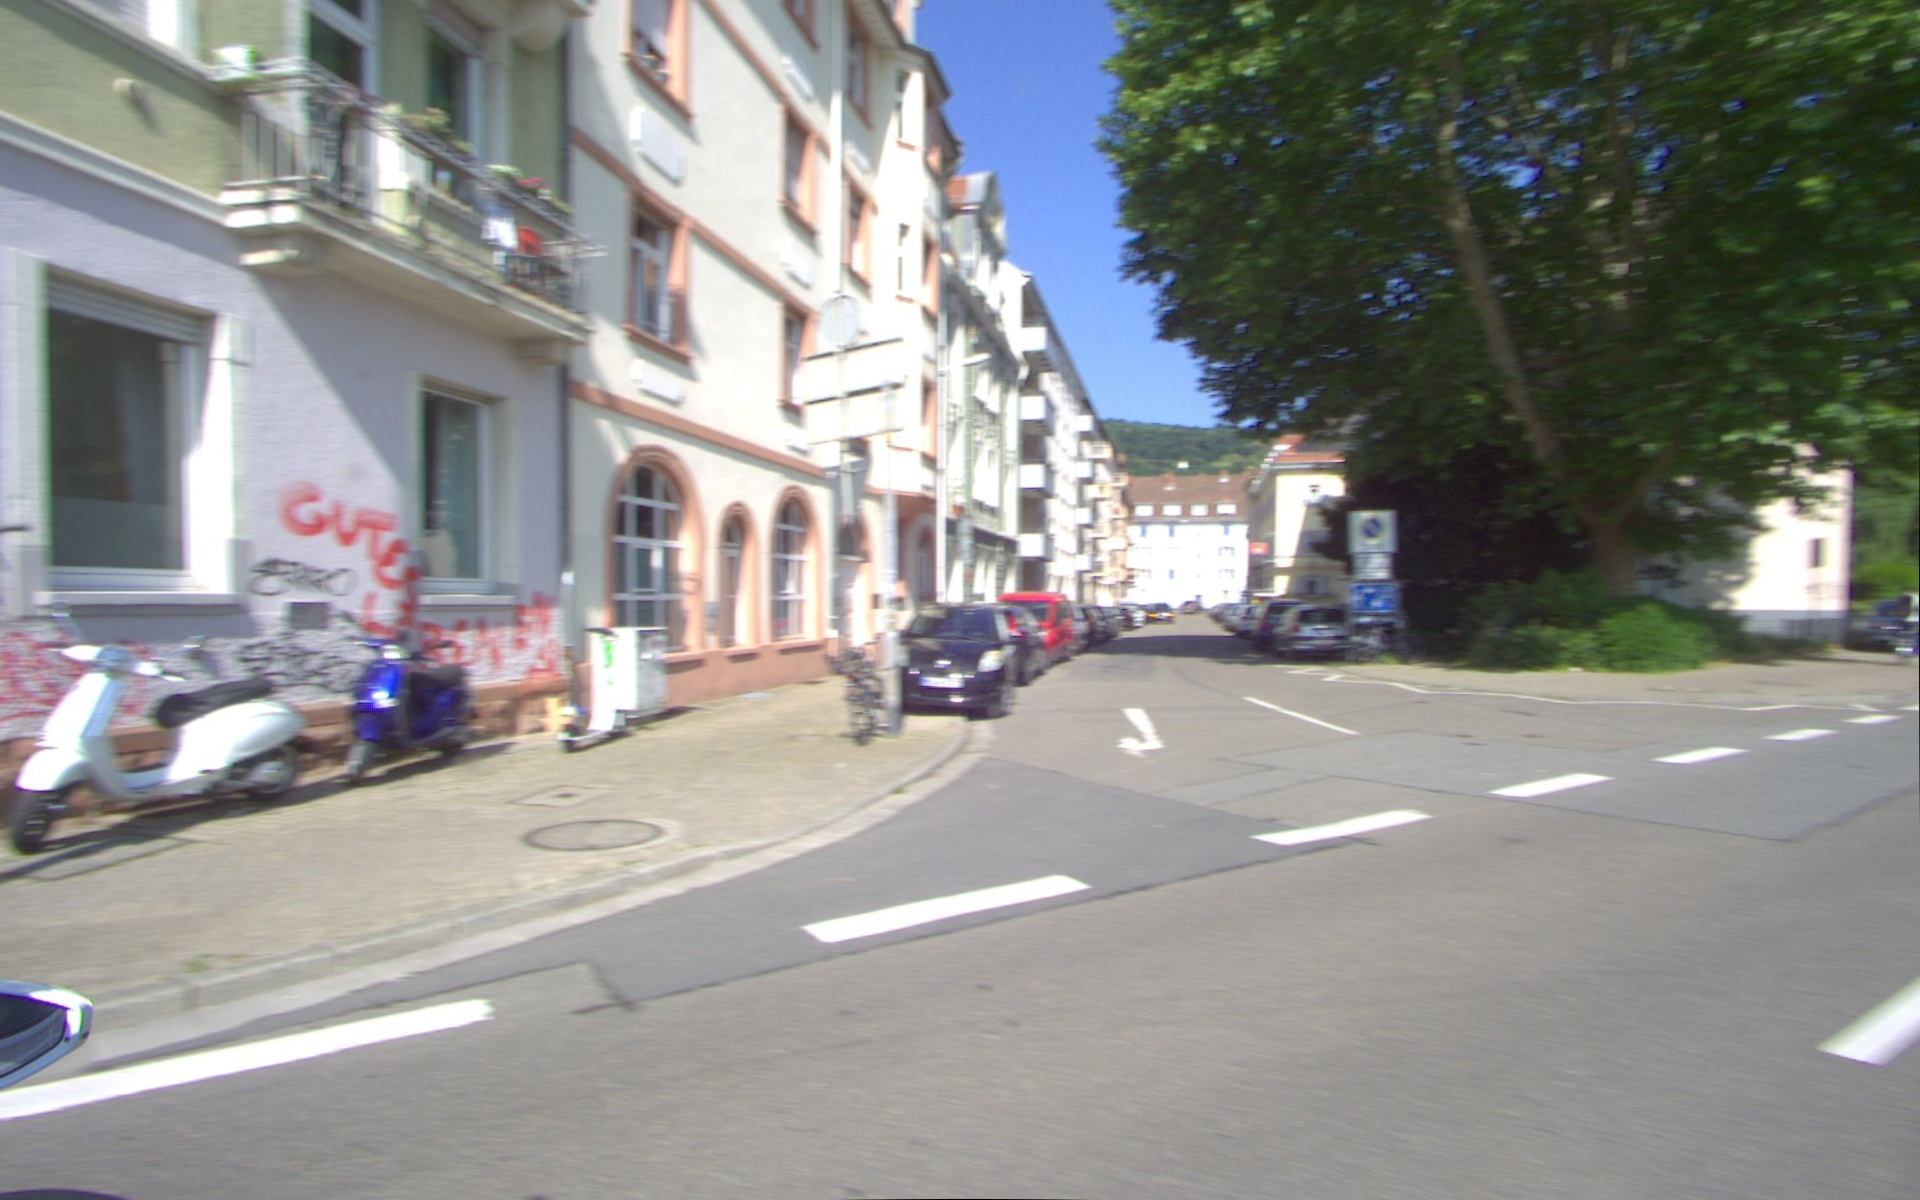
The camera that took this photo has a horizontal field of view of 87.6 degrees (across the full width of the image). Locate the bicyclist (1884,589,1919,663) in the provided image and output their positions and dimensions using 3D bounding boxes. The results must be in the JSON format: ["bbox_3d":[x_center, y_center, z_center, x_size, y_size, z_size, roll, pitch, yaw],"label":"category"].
[{"bbox_3d":[21.527,0.589,22.770,0.579,1.655,0.539,0,1,-21],"label":"bicyclist"}]

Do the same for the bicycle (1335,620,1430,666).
[{"bbox_3d":[9.854,0.993,23.433,1.862,0.997,0.973,1,1,9],"label":"bicycle"}]

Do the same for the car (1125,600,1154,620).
[{"bbox_3d":[13.737,0.728,76.420,1.963,1.498,3.996,1,0,13],"label":"car"}]

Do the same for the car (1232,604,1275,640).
[{"bbox_3d":[13.342,0.973,45.678,1.721,1.540,3.667,1,0,14],"label":"car"}]

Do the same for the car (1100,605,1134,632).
[{"bbox_3d":[9.404,1.058,59.881,1.833,1.506,3.860,1,0,11],"label":"car"}]

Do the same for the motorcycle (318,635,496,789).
[{"bbox_3d":[-4.545,0.878,8.336,0.420,1.109,1.448,2,1,13],"label":"motorcycle"}]

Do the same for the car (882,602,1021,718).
[{"bbox_3d":[-0.030,0.771,14.775,1.791,1.466,3.768,0,0,3],"label":"car"}]

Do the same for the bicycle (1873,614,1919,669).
[{"bbox_3d":[21.502,0.928,22.767,1.265,1.204,0.552,0,1,-21],"label":"bicycle"}]

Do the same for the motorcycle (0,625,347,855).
[{"bbox_3d":[-4.866,0.791,6.357,0.465,1.166,1.760,2,2,20],"label":"motorcycle"}]

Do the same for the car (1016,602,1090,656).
[{"bbox_3d":[2.900,0.823,30.481,1.834,1.506,3.997,1,0,12],"label":"car"}]

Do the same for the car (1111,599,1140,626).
[{"bbox_3d":[11.026,0.786,66.608,1.833,1.745,3.860,1,0,11],"label":"car"}]

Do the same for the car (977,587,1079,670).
[{"bbox_3d":[1.777,0.643,24.918,1.837,1.865,4.221,1,0,14],"label":"car"}]

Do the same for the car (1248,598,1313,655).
[{"bbox_3d":[10.223,0.791,32.112,1.721,1.679,3.776,1,0,14],"label":"car"}]

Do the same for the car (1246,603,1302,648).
[{"bbox_3d":[11.407,0.897,36.605,1.721,1.540,3.667,1,0,14],"label":"car"}]

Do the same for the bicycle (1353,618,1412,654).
[{"bbox_3d":[12.882,1.105,30.569,1.545,1.007,0.456,2,2,12],"label":"bicycle"}]

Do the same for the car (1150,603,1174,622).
[{"bbox_3d":[16.224,0.962,80.180,1.721,1.480,3.776,1,0,14],"label":"car"}]

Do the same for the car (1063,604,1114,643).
[{"bbox_3d":[5.419,0.942,41.851,1.833,1.506,3.997,1,0,11],"label":"car"}]

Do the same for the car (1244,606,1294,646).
[{"bbox_3d":[12.667,1.014,41.226,1.721,1.540,3.667,1,0,14],"label":"car"}]

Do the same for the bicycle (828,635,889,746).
[{"bbox_3d":[-1.099,0.951,11.104,0.614,1.048,1.882,0,0,-4],"label":"bicycle"}]

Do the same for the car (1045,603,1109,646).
[{"bbox_3d":[4.375,0.855,36.978,1.834,1.506,3.995,1,0,15],"label":"car"}]

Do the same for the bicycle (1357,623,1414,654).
[{"bbox_3d":[12.608,1.130,29.678,1.478,0.845,0.383,2,2,12],"label":"bicycle"}]

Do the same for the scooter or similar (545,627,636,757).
[{"bbox_3d":[-3.636,0.865,9.941,0.269,1.142,1.447,2,1,3],"label":"scooter or similar"}]

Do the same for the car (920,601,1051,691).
[{"bbox_3d":[0.618,0.816,19.712,1.951,1.563,4.060,0,0,11],"label":"car"}]

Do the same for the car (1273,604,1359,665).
[{"bbox_3d":[9.339,0.854,26.514,1.777,1.470,3.790,1,0,14],"label":"car"}]

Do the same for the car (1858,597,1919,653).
[{"bbox_3d":[27.639,0.704,29.162,3.851,1.533,1.777,0,1,-41],"label":"car"}]

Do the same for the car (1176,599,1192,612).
[{"bbox_3d":[26.500,0.645,118.316,1.721,1.500,3.776,1,0,14],"label":"car"}]

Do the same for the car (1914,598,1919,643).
[{"bbox_3d":[36.330,0.744,36.888,1.629,1.595,3.965,1,1,43],"label":"car"}]
